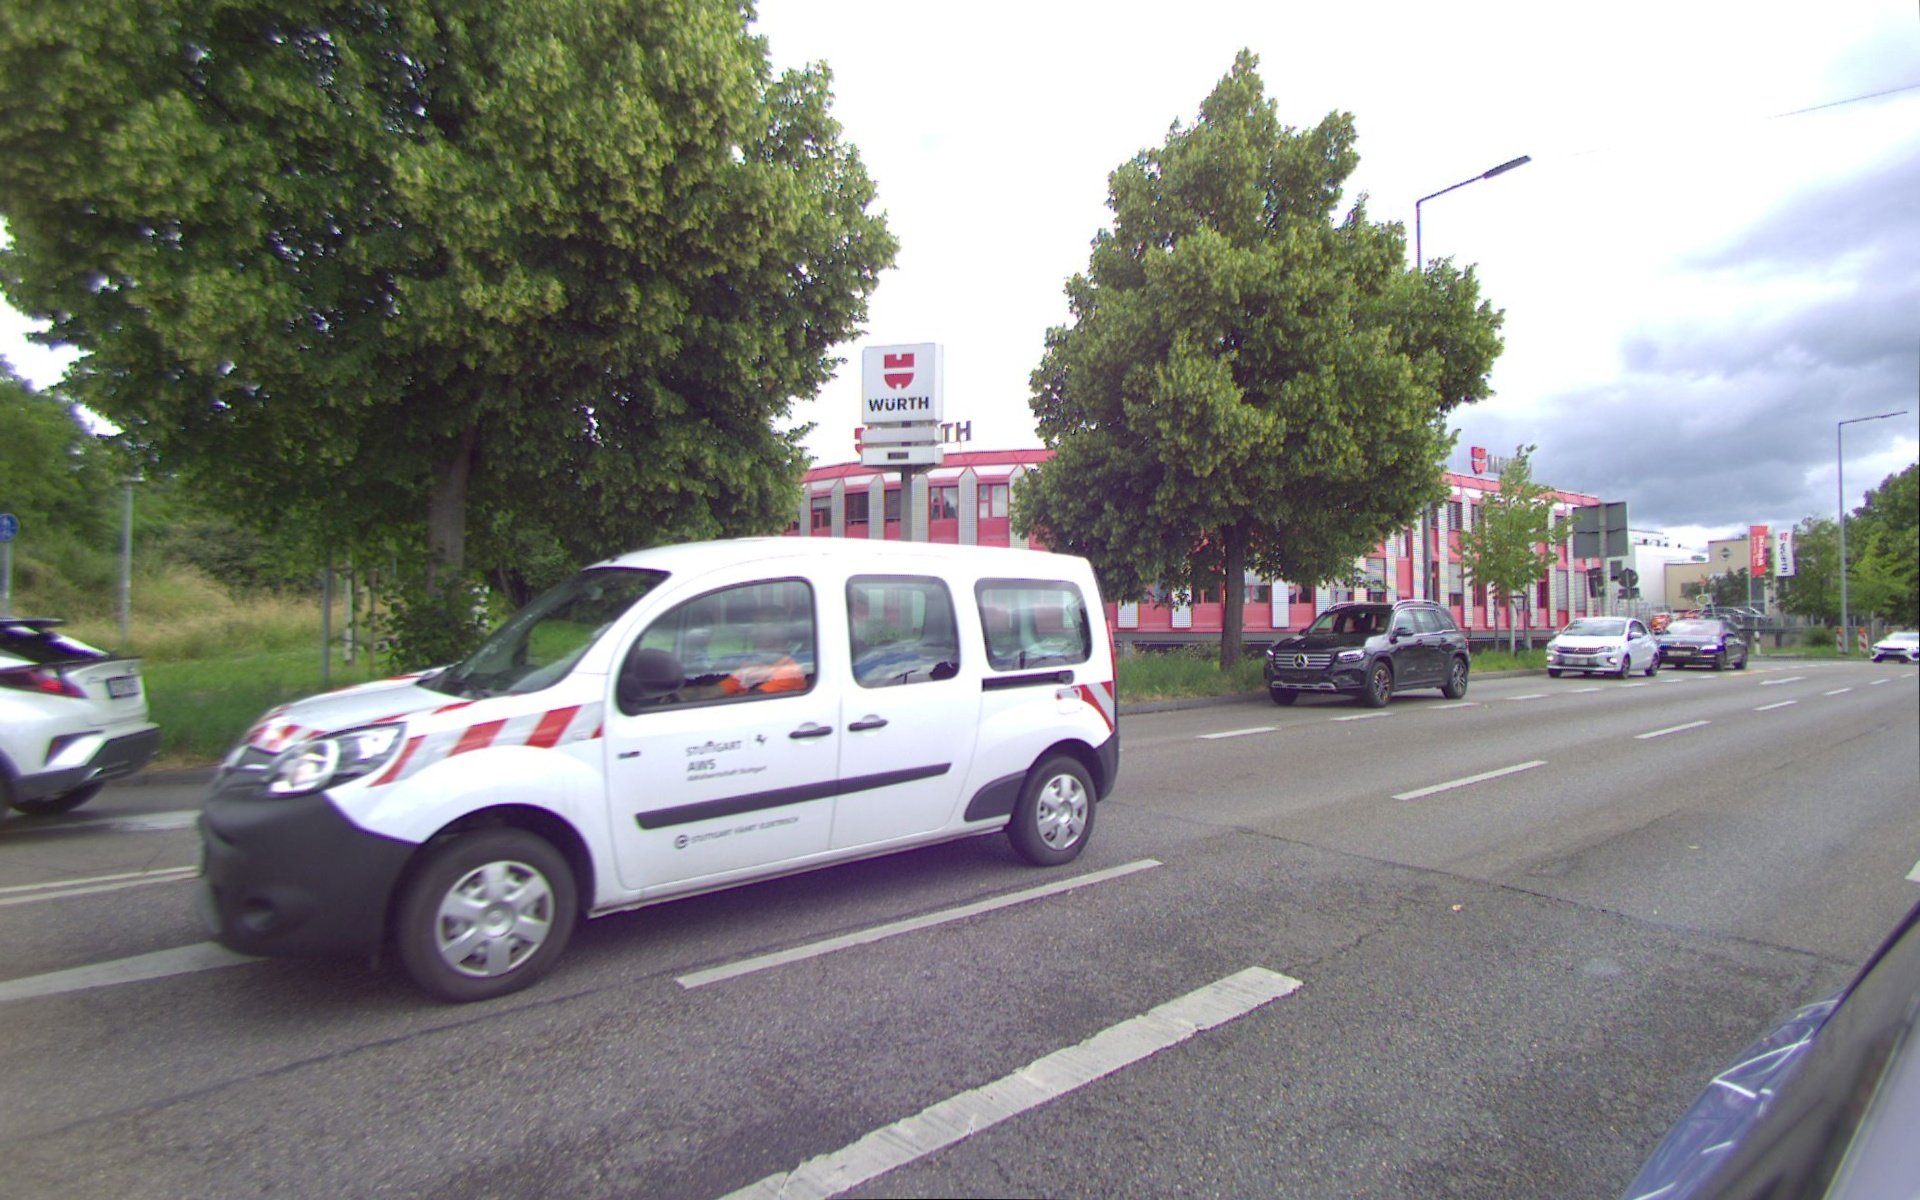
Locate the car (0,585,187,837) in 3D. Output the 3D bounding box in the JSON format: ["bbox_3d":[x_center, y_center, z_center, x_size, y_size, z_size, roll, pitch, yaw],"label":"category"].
[{"bbox_3d":[-7.801,0.746,6.459,4.215,1.555,1.789,-1,-3,-22],"label":"car"}]

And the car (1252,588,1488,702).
[{"bbox_3d":[6.906,0.721,16.832,4.347,1.671,1.783,1,-3,-40],"label":"car"}]

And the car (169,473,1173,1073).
[{"bbox_3d":[-1.161,0.485,5.377,4.753,1.824,1.998,-1,1,-40],"label":"car"}]

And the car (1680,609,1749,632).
[{"bbox_3d":[61.816,1.684,82.946,1.752,1.776,4.247,0,0,-39],"label":"car"}]

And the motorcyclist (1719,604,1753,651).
[{"bbox_3d":[25.362,0.914,33.076,0.918,1.510,0.748,2,-3,-45],"label":"motorcyclist"}]

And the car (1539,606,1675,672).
[{"bbox_3d":[15.960,0.960,24.915,3.766,1.461,1.784,3,-1,-40],"label":"car"}]

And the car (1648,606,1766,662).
[{"bbox_3d":[21.771,1.007,29.426,4.446,1.464,1.784,3,-1,-40],"label":"car"}]

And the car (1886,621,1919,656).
[{"bbox_3d":[41.419,1.689,43.188,4.391,1.380,1.787,3,-2,-33],"label":"car"}]
